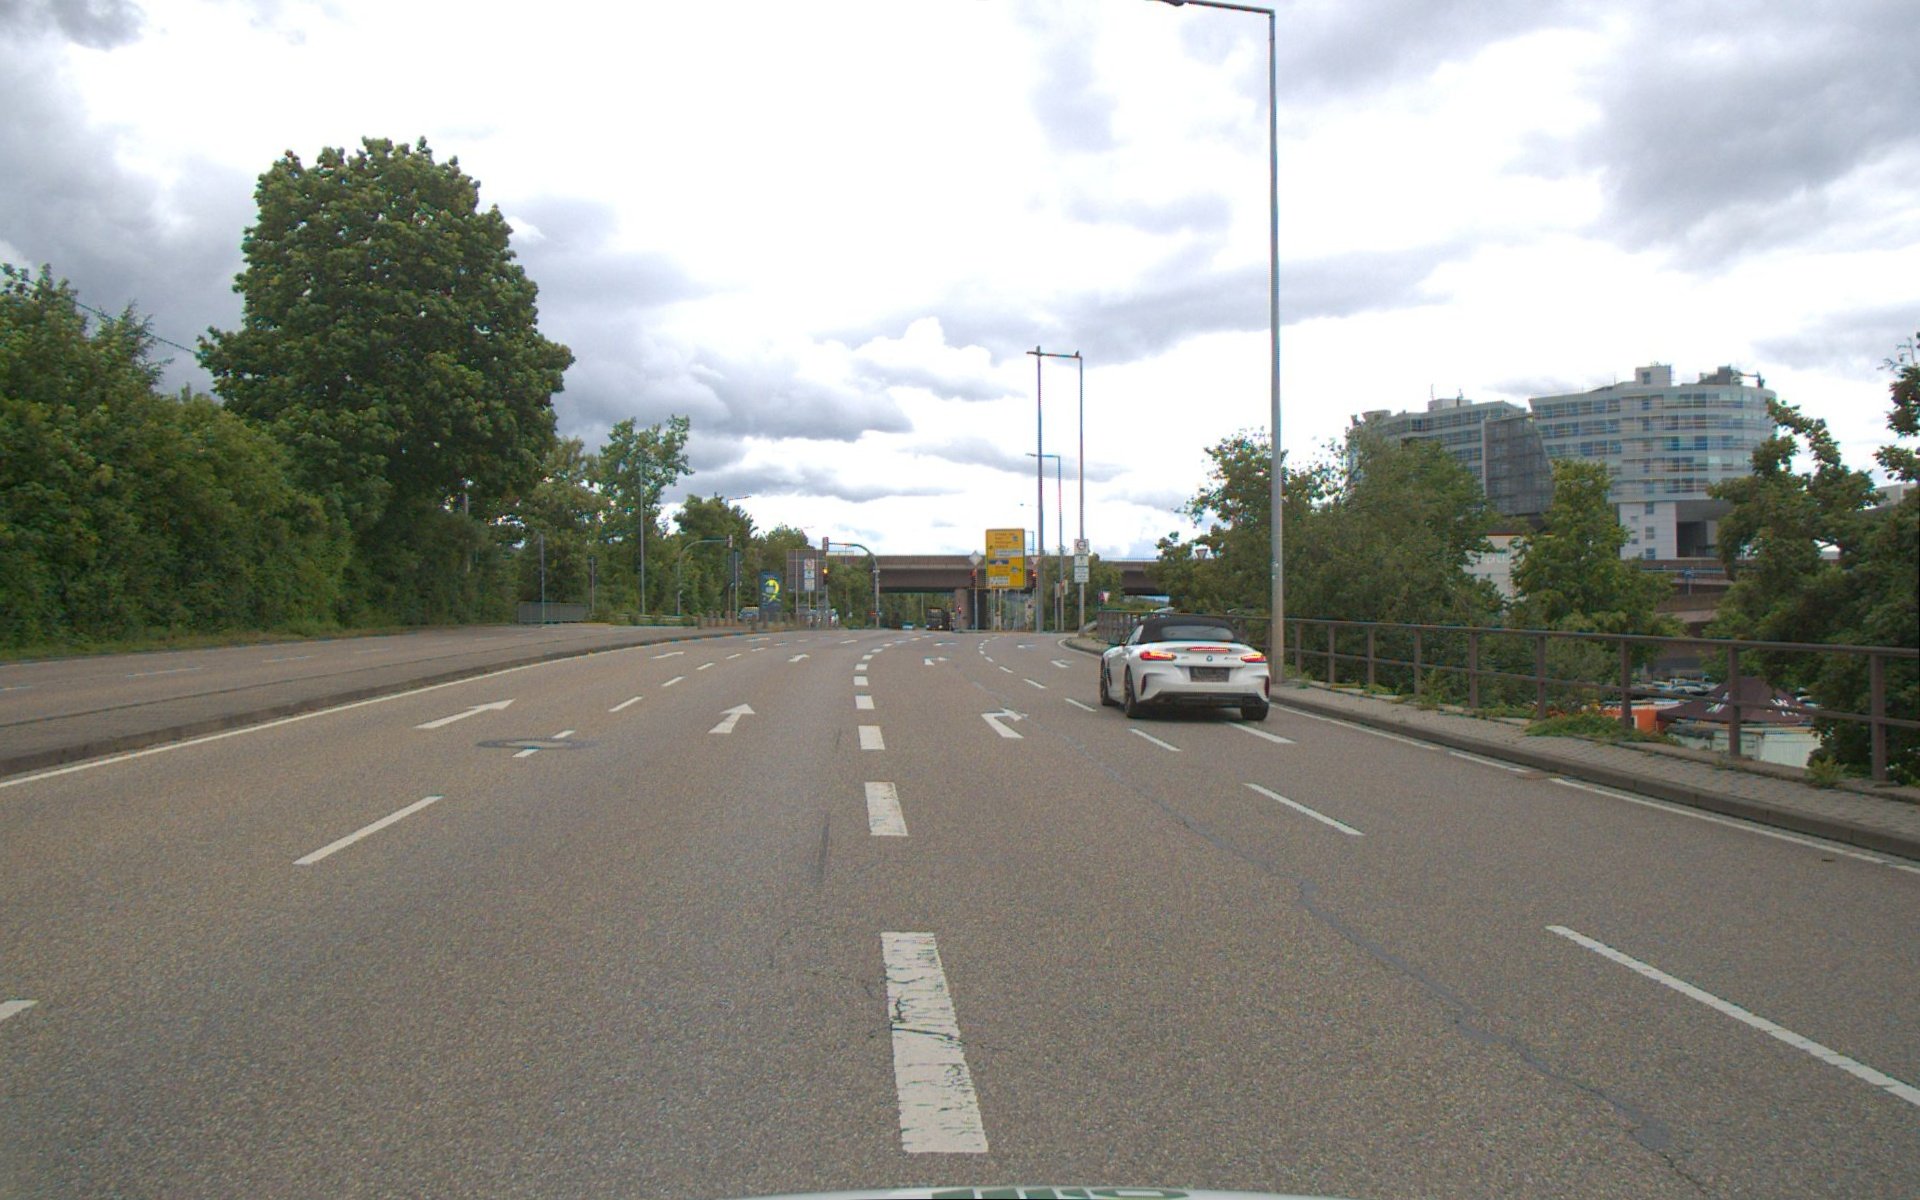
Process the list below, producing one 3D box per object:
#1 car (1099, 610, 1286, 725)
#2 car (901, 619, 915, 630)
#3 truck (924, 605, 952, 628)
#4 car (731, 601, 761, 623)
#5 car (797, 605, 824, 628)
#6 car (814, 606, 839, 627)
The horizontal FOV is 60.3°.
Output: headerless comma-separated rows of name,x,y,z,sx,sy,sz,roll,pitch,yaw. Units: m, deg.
car,3.074,0.860,22.598,1.837,1.332,3.871,2,0,-2
car,-7.452,3.507,237.934,1.704,1.564,3.672,1,0,2
truck,-3.266,2.529,249.550,2.861,3.201,10.118,1,-1,7
car,-15.514,0.841,120.108,1.724,1.510,3.483,2,-1,0
car,-11.596,1.281,128.615,1.735,1.674,3.824,2,-1,-1
car,-11.150,1.358,138.368,1.735,1.661,3.824,2,-1,-1
